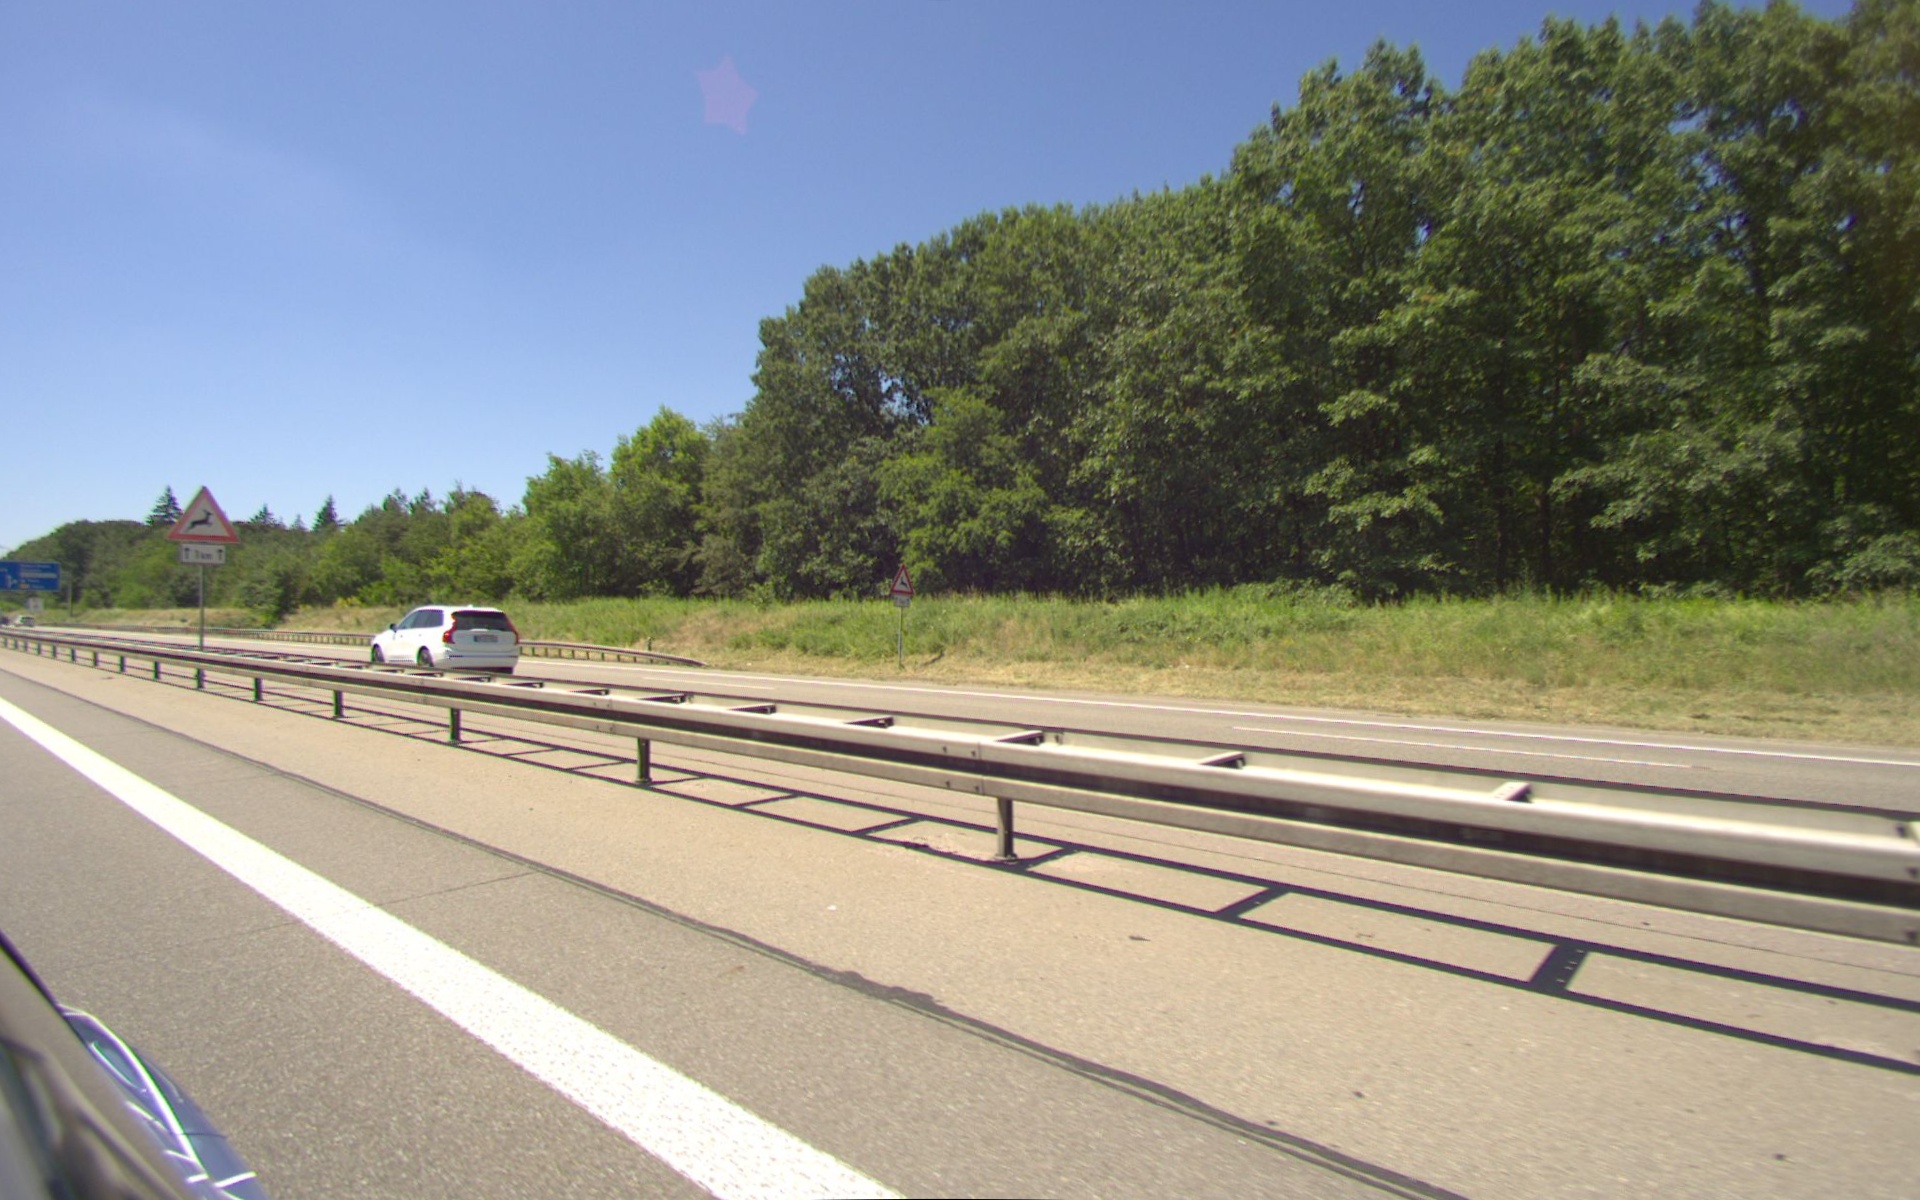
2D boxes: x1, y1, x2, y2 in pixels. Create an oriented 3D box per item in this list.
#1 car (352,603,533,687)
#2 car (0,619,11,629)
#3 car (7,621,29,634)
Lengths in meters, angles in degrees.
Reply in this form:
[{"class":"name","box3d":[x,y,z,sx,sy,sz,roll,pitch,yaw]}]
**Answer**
[{"class":"car","box3d":[-12.546,1.084,24.329,5.560,1.806,1.933,-1,-5,42]},{"class":"car","box3d":[-156.848,3.984,165.669,4.534,1.557,1.684,-1,-5,42]},{"class":"car","box3d":[-132.970,3.878,142.814,5.115,1.674,1.684,-1,-5,42]}]
